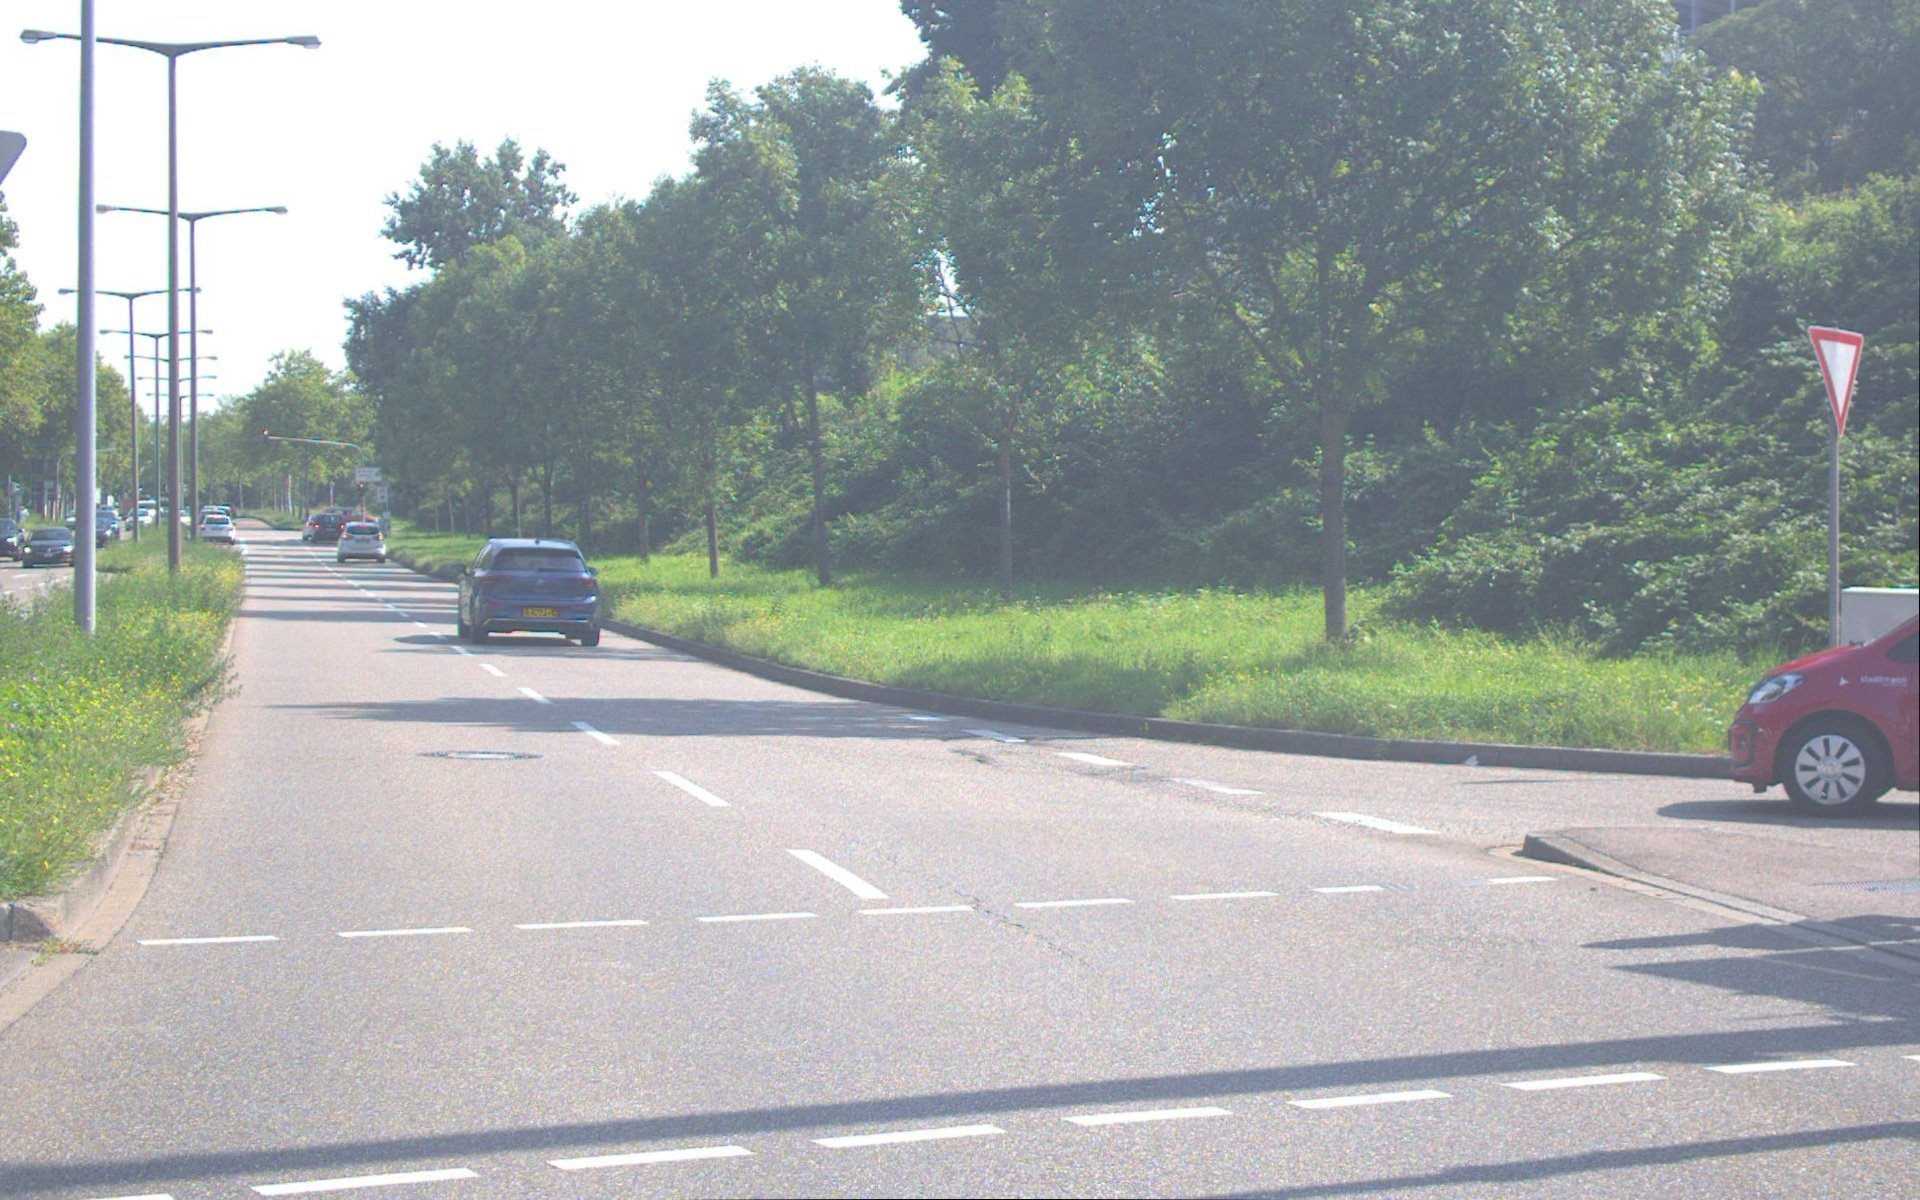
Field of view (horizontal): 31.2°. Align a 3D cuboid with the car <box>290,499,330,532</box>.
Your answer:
[{"bbox_3d":[-36.260,-4.708,191.685,1.993,1.648,4.002,3,2,-13],"label":"car"}]

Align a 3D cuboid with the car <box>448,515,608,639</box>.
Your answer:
[{"bbox_3d":[-6.039,-0.350,47.768,1.780,1.423,4.002,1,4,-13],"label":"car"}]

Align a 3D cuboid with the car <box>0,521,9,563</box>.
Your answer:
[{"bbox_3d":[-37.926,-2.293,133.343,1.845,1.599,4.612,1,1,-17],"label":"car"}]

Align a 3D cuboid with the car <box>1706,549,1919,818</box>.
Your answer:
[{"bbox_3d":[6.178,0.461,19.627,3.546,1.462,1.642,1,2,21],"label":"car"}]

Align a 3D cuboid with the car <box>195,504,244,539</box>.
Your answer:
[{"bbox_3d":[-36.443,-3.878,169.254,1.993,1.696,4.001,-1,1,-7],"label":"car"}]

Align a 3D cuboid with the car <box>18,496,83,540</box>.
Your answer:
[{"bbox_3d":[-32.043,-2.890,121.207,1.845,1.484,4.645,-2,2,-11],"label":"car"}]

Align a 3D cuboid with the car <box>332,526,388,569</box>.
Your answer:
[{"bbox_3d":[-23.638,-2.094,135.396,1.993,1.648,4.001,-1,1,-12],"label":"car"}]
